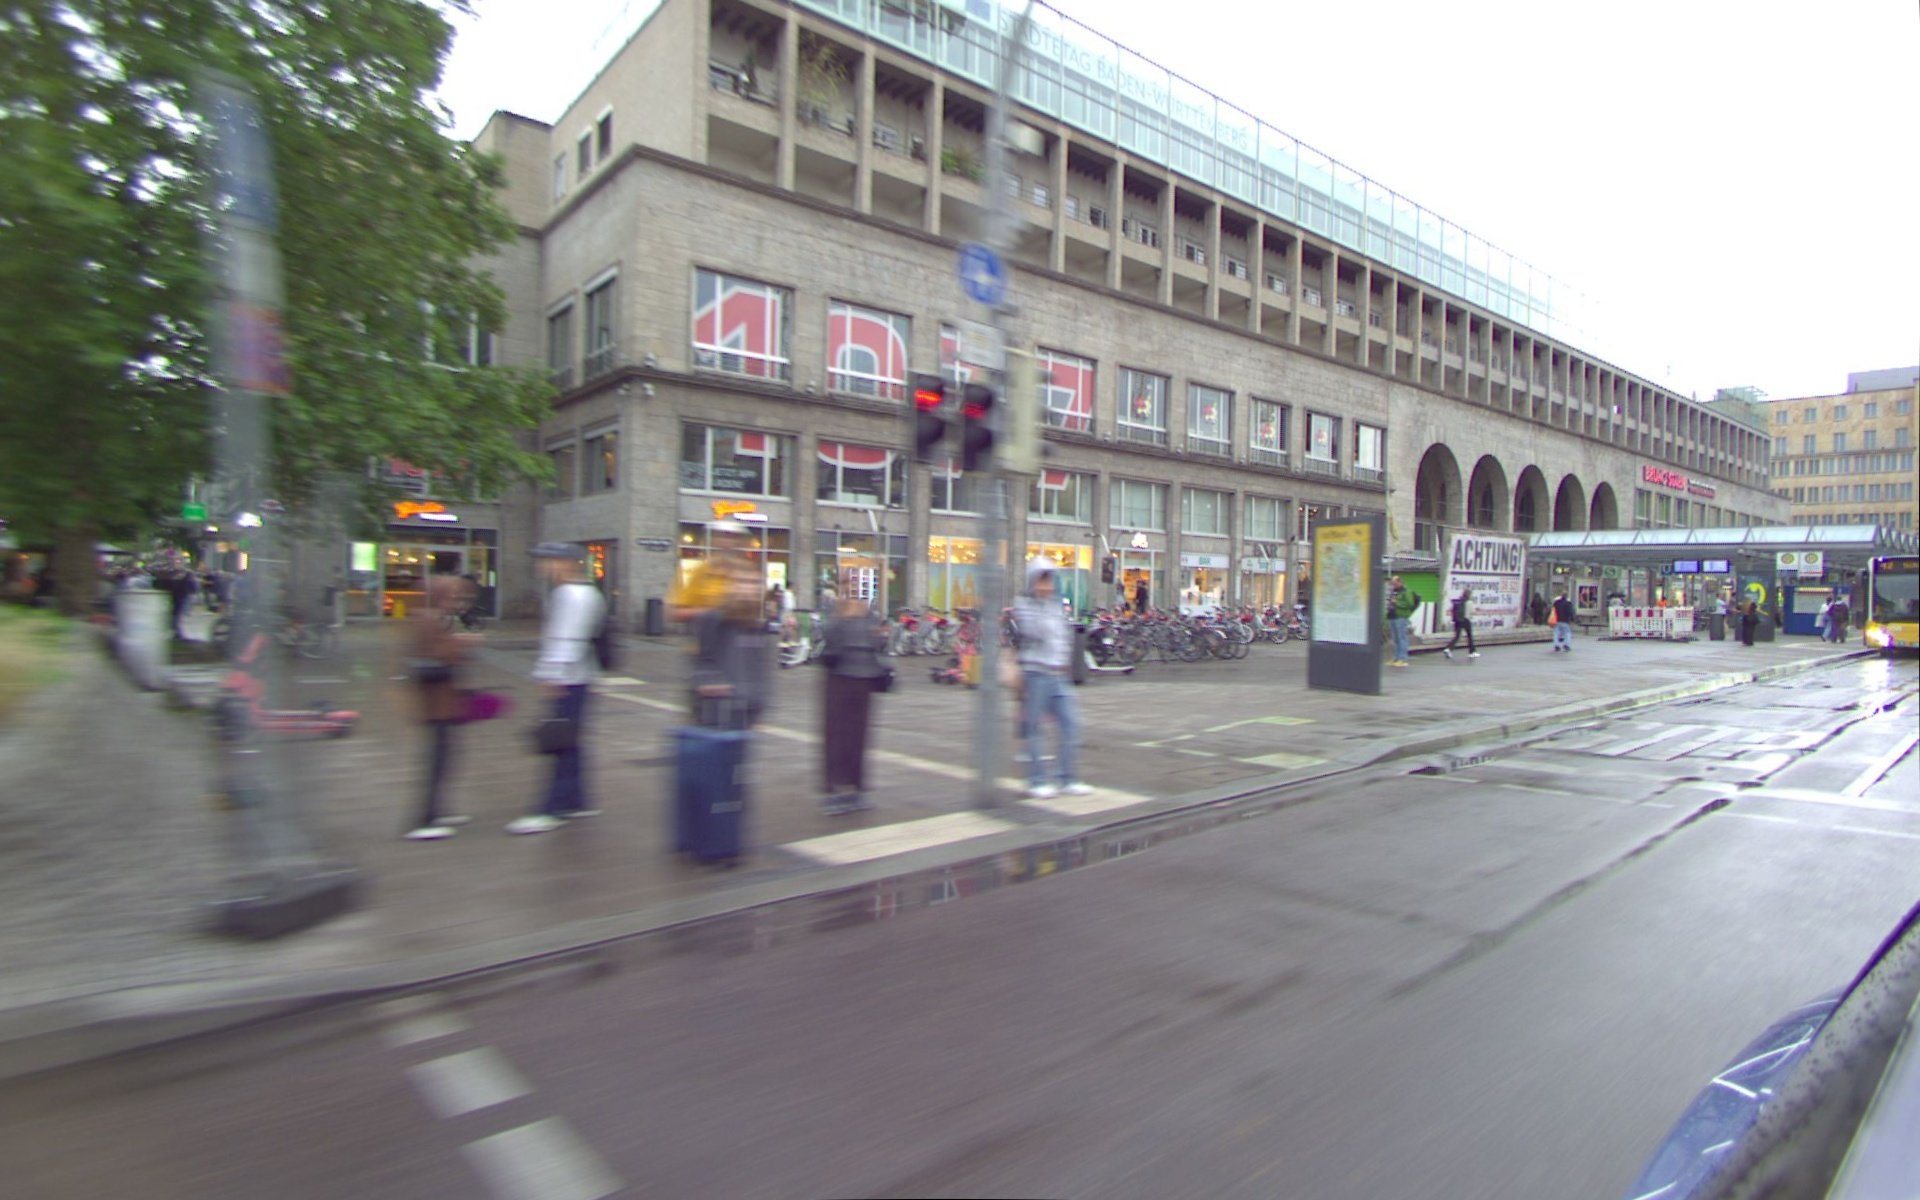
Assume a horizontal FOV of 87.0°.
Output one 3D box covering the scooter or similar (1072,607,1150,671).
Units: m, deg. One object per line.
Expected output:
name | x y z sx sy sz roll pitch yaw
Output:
scooter or similar | 2.794 0.711 18.775 1.337 1.144 0.439 -1 -2 -14

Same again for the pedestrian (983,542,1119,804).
pedestrian | 0.684 0.497 7.556 0.743 1.827 0.701 1 1 35

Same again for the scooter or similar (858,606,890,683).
scooter or similar | -1.499 0.740 17.474 0.429 1.266 1.368 0 0 -9

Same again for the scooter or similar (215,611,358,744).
scooter or similar | -6.626 0.729 9.980 1.138 1.232 0.352 0 -1 -42

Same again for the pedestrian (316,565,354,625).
pedestrian | -18.793 -0.166 30.447 0.848 1.785 0.707 0 2 -22

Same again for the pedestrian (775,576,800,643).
pedestrian | -4.302 0.233 25.205 0.603 1.621 0.648 0 2 -12

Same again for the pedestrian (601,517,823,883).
pedestrian | -1.395 0.497 5.759 0.784 1.861 0.938 1 1 35

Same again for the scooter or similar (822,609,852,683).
scooter or similar | -2.160 0.775 17.662 0.466 1.232 1.100 0 0 -9

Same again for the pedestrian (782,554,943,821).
pedestrian | -0.687 0.554 7.065 0.745 1.712 0.877 0 1 -40

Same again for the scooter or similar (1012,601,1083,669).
scooter or similar | 1.716 0.667 19.915 1.299 1.272 0.585 0 0 37

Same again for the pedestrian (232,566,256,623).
pedestrian | -21.305 -0.164 30.097 0.456 1.659 0.438 -1 0 31

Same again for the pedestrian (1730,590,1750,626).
pedestrian | 41.279 0.405 53.558 0.579 1.898 0.598 0 0 -6

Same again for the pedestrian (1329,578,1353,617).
pedestrian | 17.959 -0.122 47.690 0.775 1.814 0.732 0 1 -40

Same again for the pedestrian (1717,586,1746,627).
pedestrian | 35.104 0.272 46.039 0.780 1.827 0.985 1 1 22

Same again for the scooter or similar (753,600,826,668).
scooter or similar | -3.386 0.655 20.268 0.614 1.276 1.738 -1 0 23

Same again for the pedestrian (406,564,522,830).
pedestrian | -3.142 0.568 6.423 0.621 1.574 0.659 0 0 -27

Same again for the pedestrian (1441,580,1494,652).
pedestrian | 11.944 0.355 23.832 0.772 1.662 0.789 0 1 -25

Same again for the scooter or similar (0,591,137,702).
scooter or similar | -11.430 0.567 12.987 0.408 1.349 1.298 -1 0 37

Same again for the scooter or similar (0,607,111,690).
scooter or similar | -12.455 0.639 13.775 0.475 1.048 1.298 2 1 37

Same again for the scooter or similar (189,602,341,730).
scooter or similar | -7.419 0.670 10.849 0.371 1.275 1.298 -1 0 37

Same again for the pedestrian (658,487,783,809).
pedestrian | -1.711 0.316 7.250 0.552 2.172 0.660 1 1 35

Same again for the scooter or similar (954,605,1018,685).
scooter or similar | 0.429 0.720 16.516 1.079 1.252 0.325 0 0 -40

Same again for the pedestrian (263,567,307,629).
pedestrian | -18.613 -0.049 27.907 0.761 1.689 0.707 -1 0 21

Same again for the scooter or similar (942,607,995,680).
scooter or similar | 0.158 0.732 17.562 0.940 1.222 0.306 0 0 -40

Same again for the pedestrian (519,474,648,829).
pedestrian | -2.485 0.308 6.656 0.706 2.172 0.712 0 1 -27

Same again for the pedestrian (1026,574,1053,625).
pedestrian | 2.705 -0.027 34.343 0.696 1.710 0.598 0 1 -40

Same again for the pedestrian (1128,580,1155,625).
pedestrian | 6.965 0.089 38.843 0.762 1.718 0.722 0 0 -41

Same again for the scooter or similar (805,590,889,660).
scooter or similar | -2.378 0.527 21.408 1.679 1.446 0.622 0 0 5

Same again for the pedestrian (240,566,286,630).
pedestrian | -18.682 -0.044 27.118 0.761 1.689 0.707 -1 0 21

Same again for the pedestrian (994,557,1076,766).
pedestrian | 0.697 0.527 9.268 0.534 1.827 0.752 1 1 22

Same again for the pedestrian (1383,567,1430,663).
pedestrian | 9.392 0.294 21.277 0.705 1.957 0.777 1 1 40

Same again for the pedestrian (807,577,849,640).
pedestrian | -3.637 0.218 27.817 0.871 1.695 0.795 0 0 -32

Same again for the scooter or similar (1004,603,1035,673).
scooter or similar | 1.128 0.696 19.019 0.559 1.246 1.368 0 0 4

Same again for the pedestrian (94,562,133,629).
pedestrian | -24.043 -0.128 28.744 0.820 1.887 0.820 0 0 -39

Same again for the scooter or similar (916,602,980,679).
scooter or similar | -0.201 0.692 17.833 1.152 1.297 0.369 0 0 -40

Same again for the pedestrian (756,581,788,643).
pedestrian | -4.784 0.301 25.773 0.766 1.542 0.673 1 1 -11
